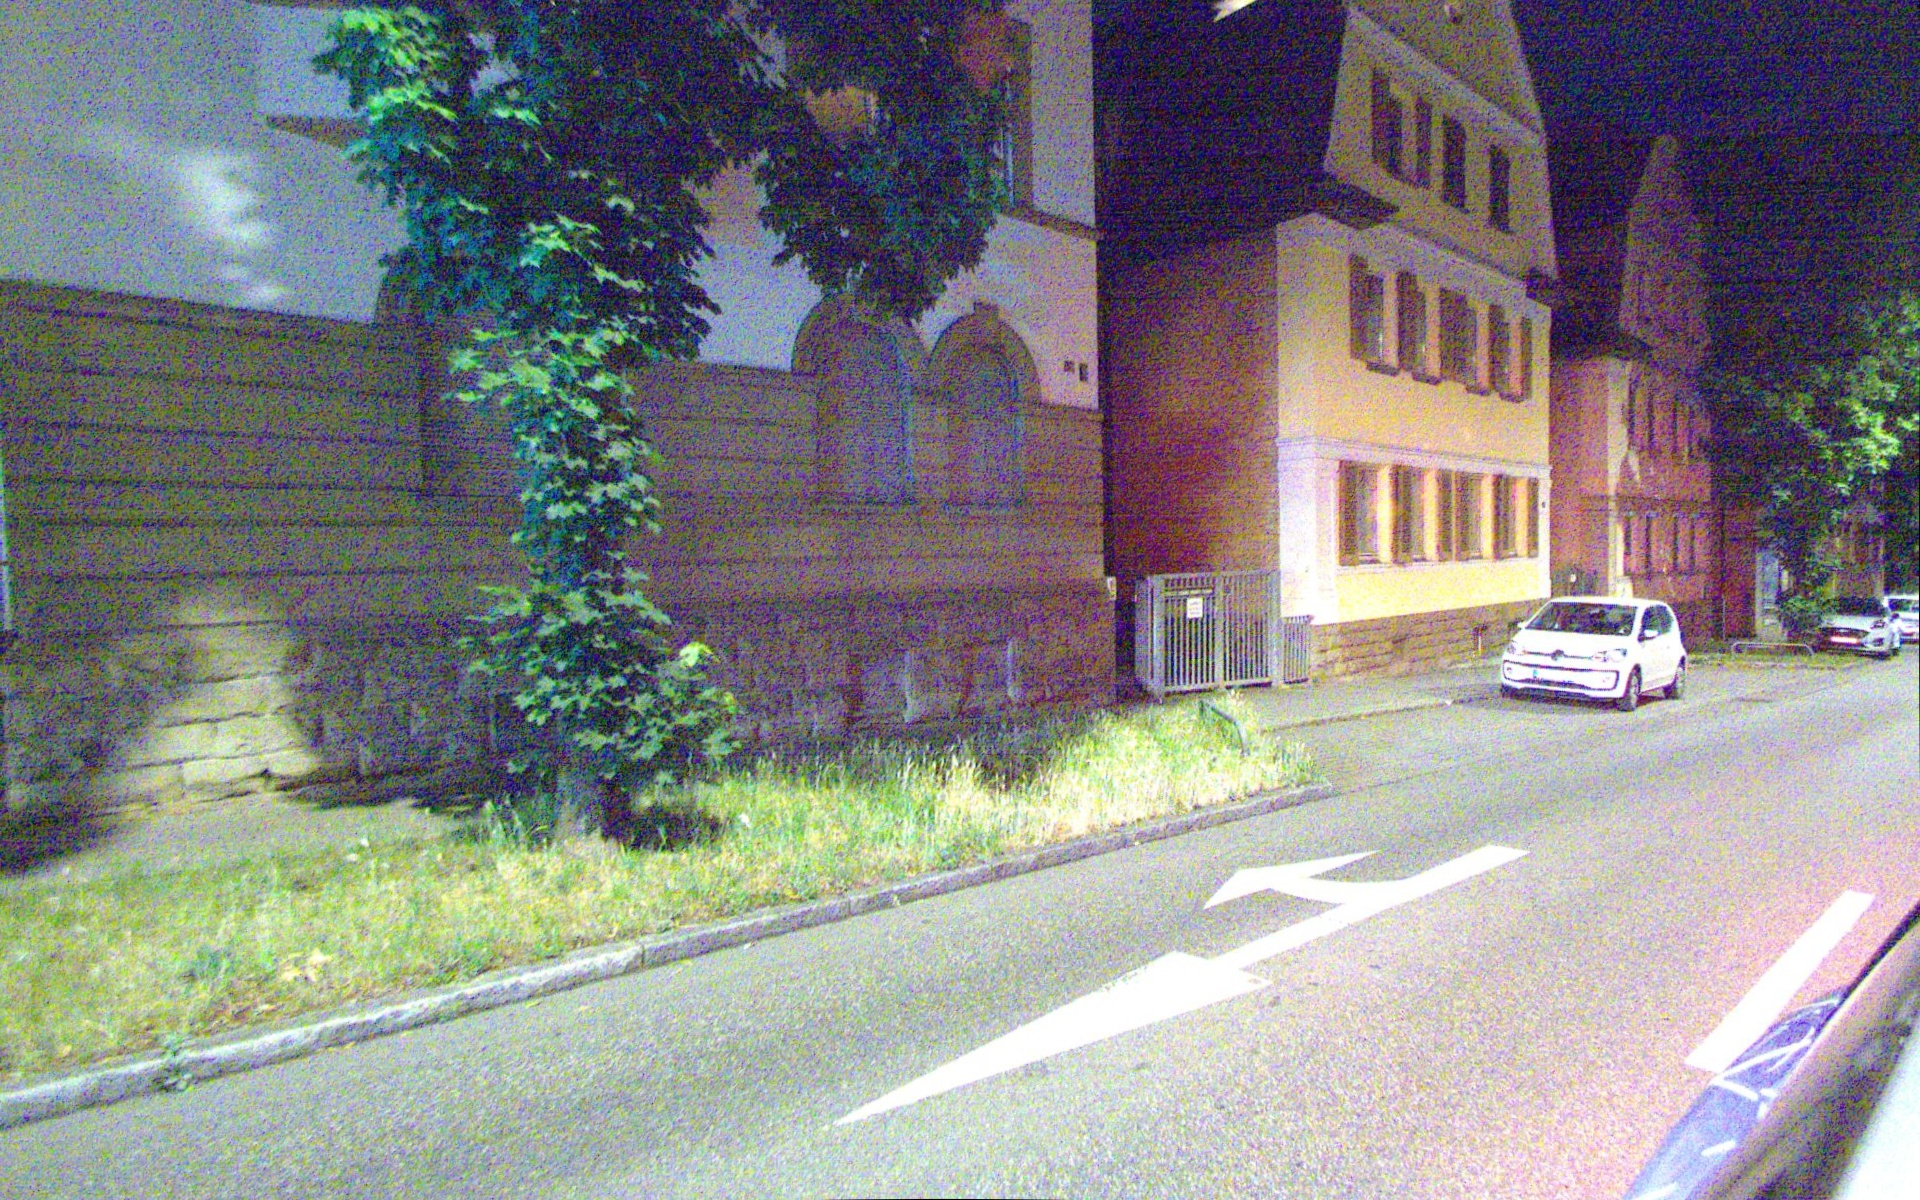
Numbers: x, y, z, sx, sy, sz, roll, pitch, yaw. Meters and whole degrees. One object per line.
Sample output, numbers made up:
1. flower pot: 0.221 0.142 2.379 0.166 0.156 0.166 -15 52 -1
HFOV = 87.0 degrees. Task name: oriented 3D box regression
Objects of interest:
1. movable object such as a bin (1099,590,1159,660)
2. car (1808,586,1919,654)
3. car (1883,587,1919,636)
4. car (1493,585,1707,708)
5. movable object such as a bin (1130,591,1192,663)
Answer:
1. movable object such as a bin: 2.662 0.376 15.923 0.742 1.062 0.608 0 0 -41
2. car: 23.807 0.474 26.568 3.977 1.572 1.862 0 3 -43
3. car: 33.791 0.394 35.337 4.281 1.616 1.742 0 3 -40
4. car: 9.322 0.580 14.649 3.541 1.503 1.671 0 2 -42
5. movable object such as a bin: 3.069 0.402 15.447 0.742 1.062 0.608 0 0 -41
